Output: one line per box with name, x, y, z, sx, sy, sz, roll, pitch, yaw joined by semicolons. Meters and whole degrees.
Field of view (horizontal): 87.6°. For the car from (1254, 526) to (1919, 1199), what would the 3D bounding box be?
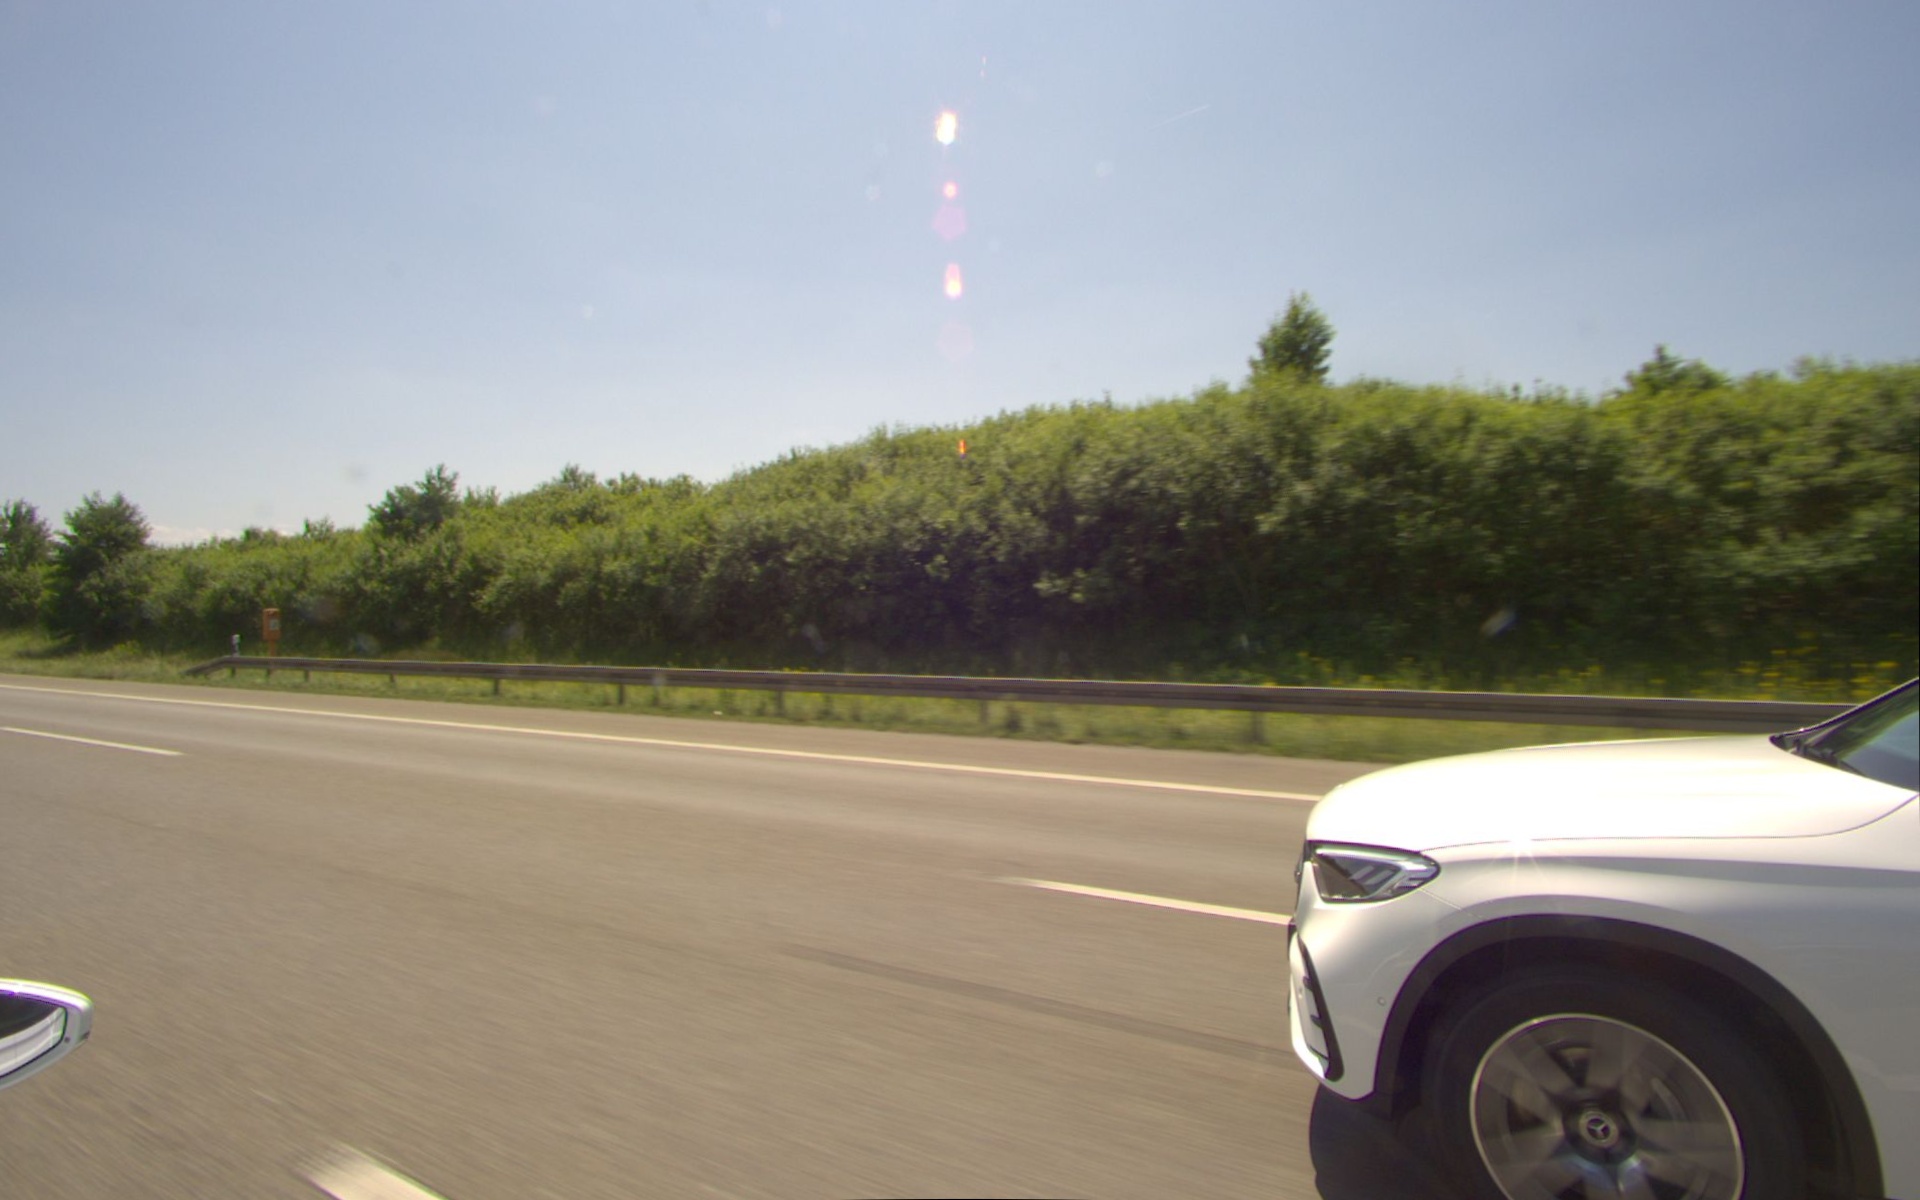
car;3.177;0.706;2.135;4.570;1.677;1.902;-1;-2;32
